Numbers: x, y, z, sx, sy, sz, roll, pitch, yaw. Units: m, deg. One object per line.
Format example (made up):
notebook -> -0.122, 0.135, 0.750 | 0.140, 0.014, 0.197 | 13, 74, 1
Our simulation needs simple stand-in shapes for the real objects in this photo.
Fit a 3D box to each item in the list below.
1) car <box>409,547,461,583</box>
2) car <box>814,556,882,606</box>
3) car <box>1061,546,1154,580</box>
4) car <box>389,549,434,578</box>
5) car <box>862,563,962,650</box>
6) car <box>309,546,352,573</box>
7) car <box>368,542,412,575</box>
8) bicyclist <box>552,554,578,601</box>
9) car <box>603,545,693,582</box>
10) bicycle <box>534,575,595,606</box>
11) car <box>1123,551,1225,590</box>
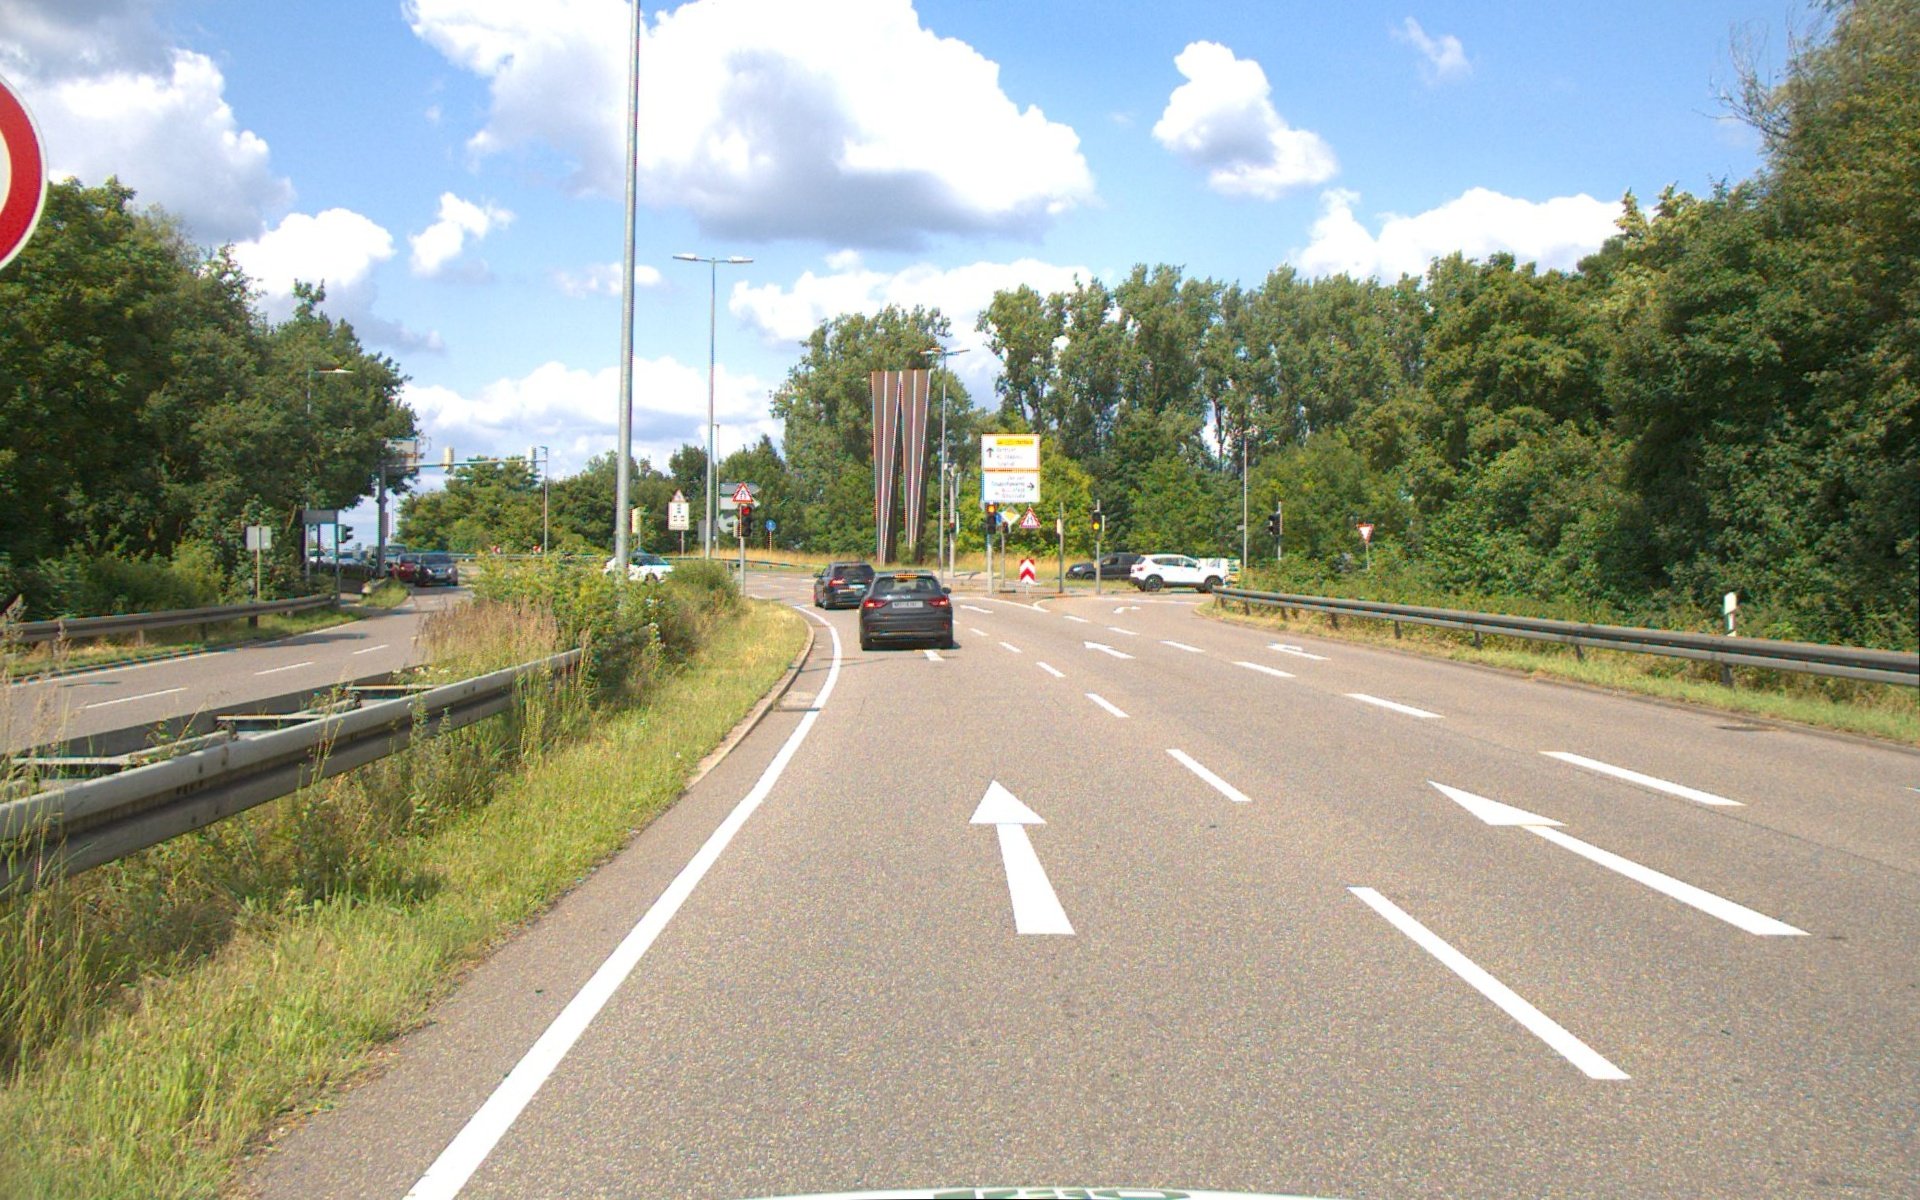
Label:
car -> -25.827, -1.712, 81.266 | 1.817, 1.646, 3.965 | -2, 1, -27
car -> -3.636, -0.647, 53.190 | 1.695, 1.448, 3.836 | -3, 2, -10
car -> 7.046, -1.774, 79.239 | 4.187, 1.571, 1.734 | -1, 2, -8
car -> -29.370, -1.959, 88.446 | 1.711, 1.502, 4.012 | -1, 2, -27
car -> -0.971, 0.076, 31.468 | 1.692, 1.428, 3.998 | -2, 2, -4
car -> -40.981, -2.639, 107.574 | 1.825, 1.735, 4.280 | -1, 2, -32
car -> -32.548, -2.371, 94.423 | 1.821, 1.833, 4.289 | -1, 2, -27
bicyclist -> -13.548, -0.781, 56.704 | 0.819, 1.587, 0.670 | 0, 1, -11
car -> -13.892, -1.632, 73.554 | 3.969, 1.502, 1.729 | 3, 2, 38
bicycle -> -13.549, -0.333, 56.713 | 2.015, 1.041, 0.670 | 0, 1, -11
car -> 9.113, -1.253, 70.555 | 3.946, 1.535, 1.954 | 2, 0, -6
